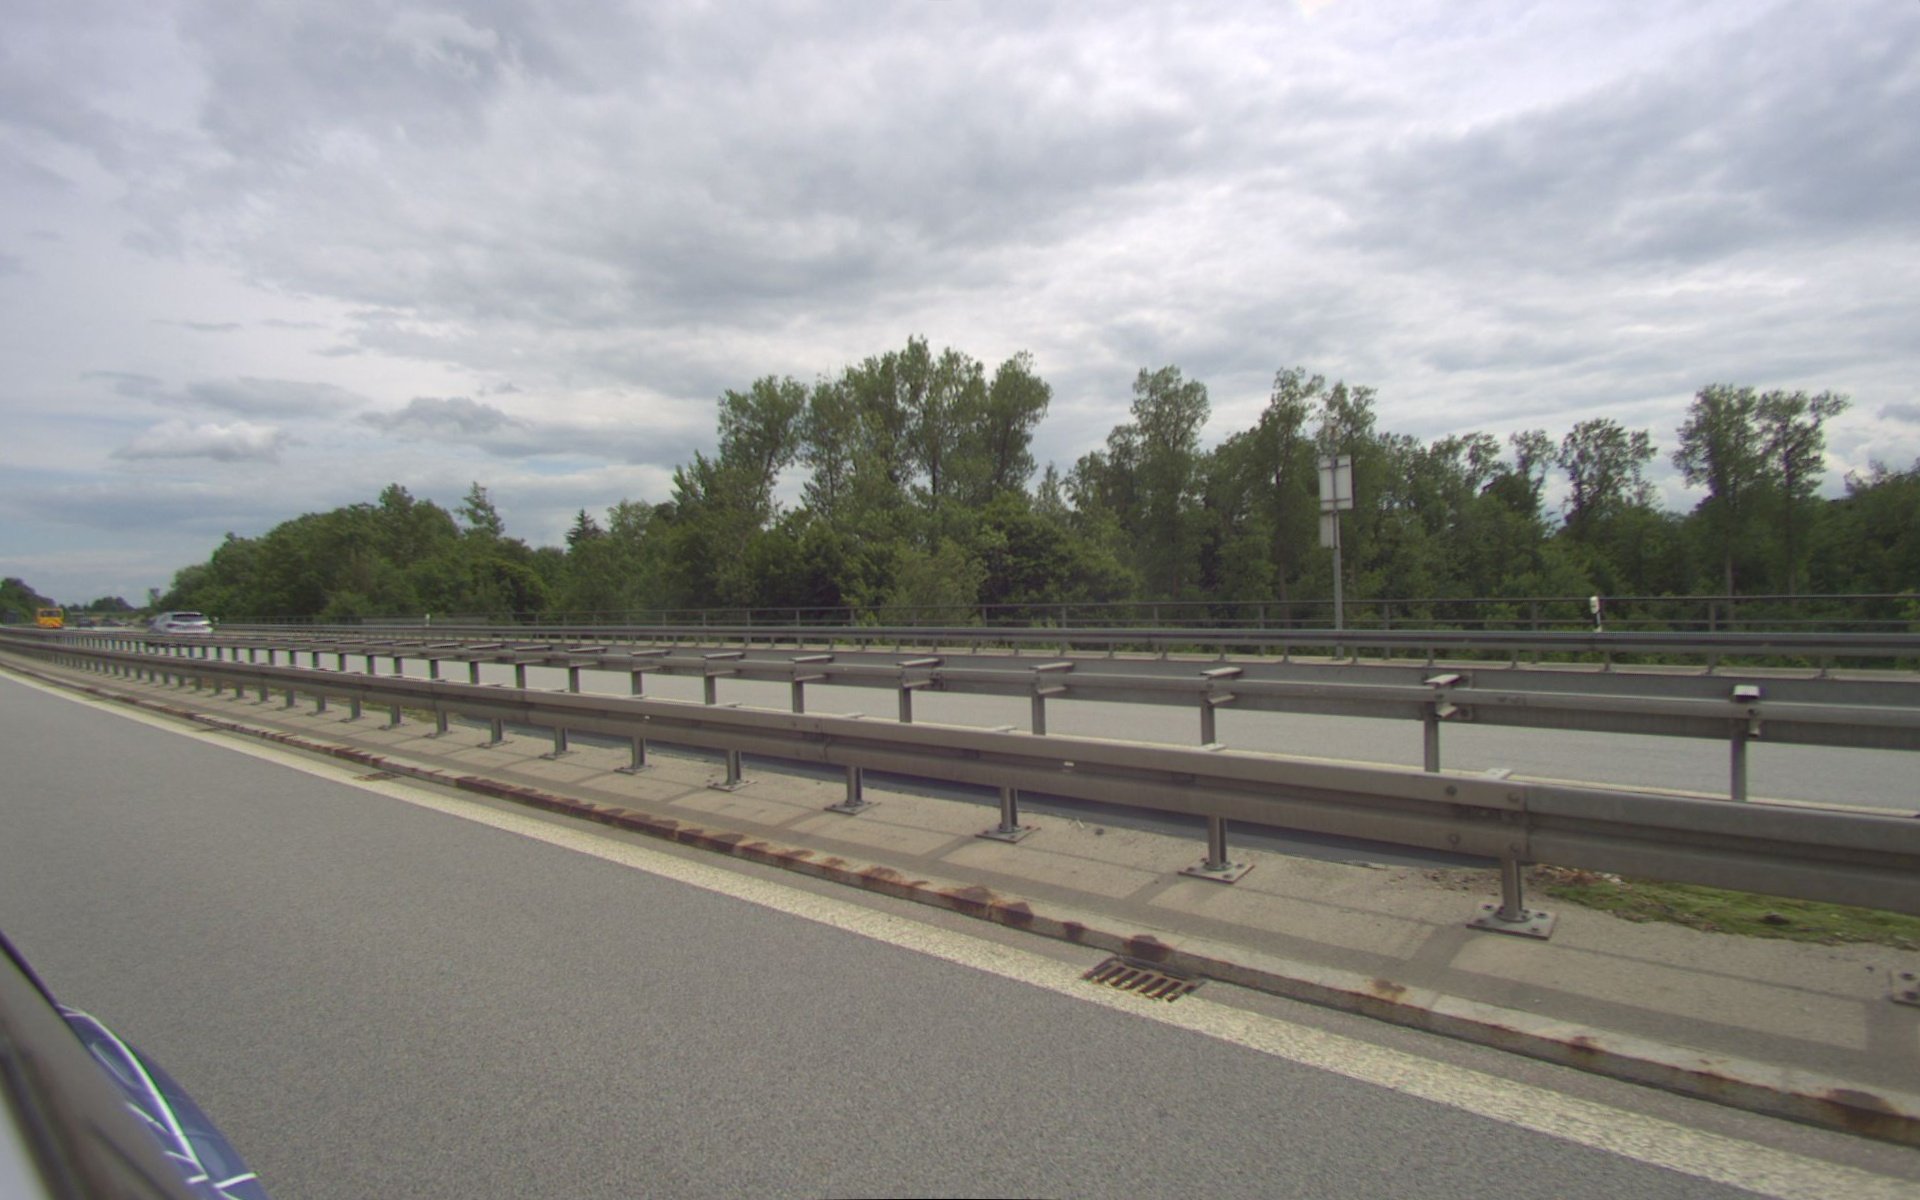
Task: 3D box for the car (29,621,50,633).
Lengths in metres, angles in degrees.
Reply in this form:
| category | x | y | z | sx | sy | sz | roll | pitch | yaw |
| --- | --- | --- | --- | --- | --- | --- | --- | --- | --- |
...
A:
| category | x | y | z | sx | sy | sz | roll | pitch | yaw |
| --- | --- | --- | --- | --- | --- | --- | --- | --- | --- |
| car | -111.404 | 3.238 | 122.474 | 4.251 | 1.416 | 1.709 | -1 | -1 | 45 |

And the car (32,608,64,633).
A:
| category | x | y | z | sx | sy | sz | roll | pitch | yaw |
| --- | --- | --- | --- | --- | --- | --- | --- | --- | --- |
| car | -88.057 | 2.020 | 97.679 | 1.971 | 2.310 | 6.401 | -1 | -1 | -45 |

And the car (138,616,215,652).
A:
| category | x | y | z | sx | sy | sz | roll | pitch | yaw |
| --- | --- | --- | --- | --- | --- | --- | --- | --- | --- |
| car | -32.635 | 1.385 | 42.122 | 4.386 | 1.397 | 1.753 | -1 | 0 | 41 |
